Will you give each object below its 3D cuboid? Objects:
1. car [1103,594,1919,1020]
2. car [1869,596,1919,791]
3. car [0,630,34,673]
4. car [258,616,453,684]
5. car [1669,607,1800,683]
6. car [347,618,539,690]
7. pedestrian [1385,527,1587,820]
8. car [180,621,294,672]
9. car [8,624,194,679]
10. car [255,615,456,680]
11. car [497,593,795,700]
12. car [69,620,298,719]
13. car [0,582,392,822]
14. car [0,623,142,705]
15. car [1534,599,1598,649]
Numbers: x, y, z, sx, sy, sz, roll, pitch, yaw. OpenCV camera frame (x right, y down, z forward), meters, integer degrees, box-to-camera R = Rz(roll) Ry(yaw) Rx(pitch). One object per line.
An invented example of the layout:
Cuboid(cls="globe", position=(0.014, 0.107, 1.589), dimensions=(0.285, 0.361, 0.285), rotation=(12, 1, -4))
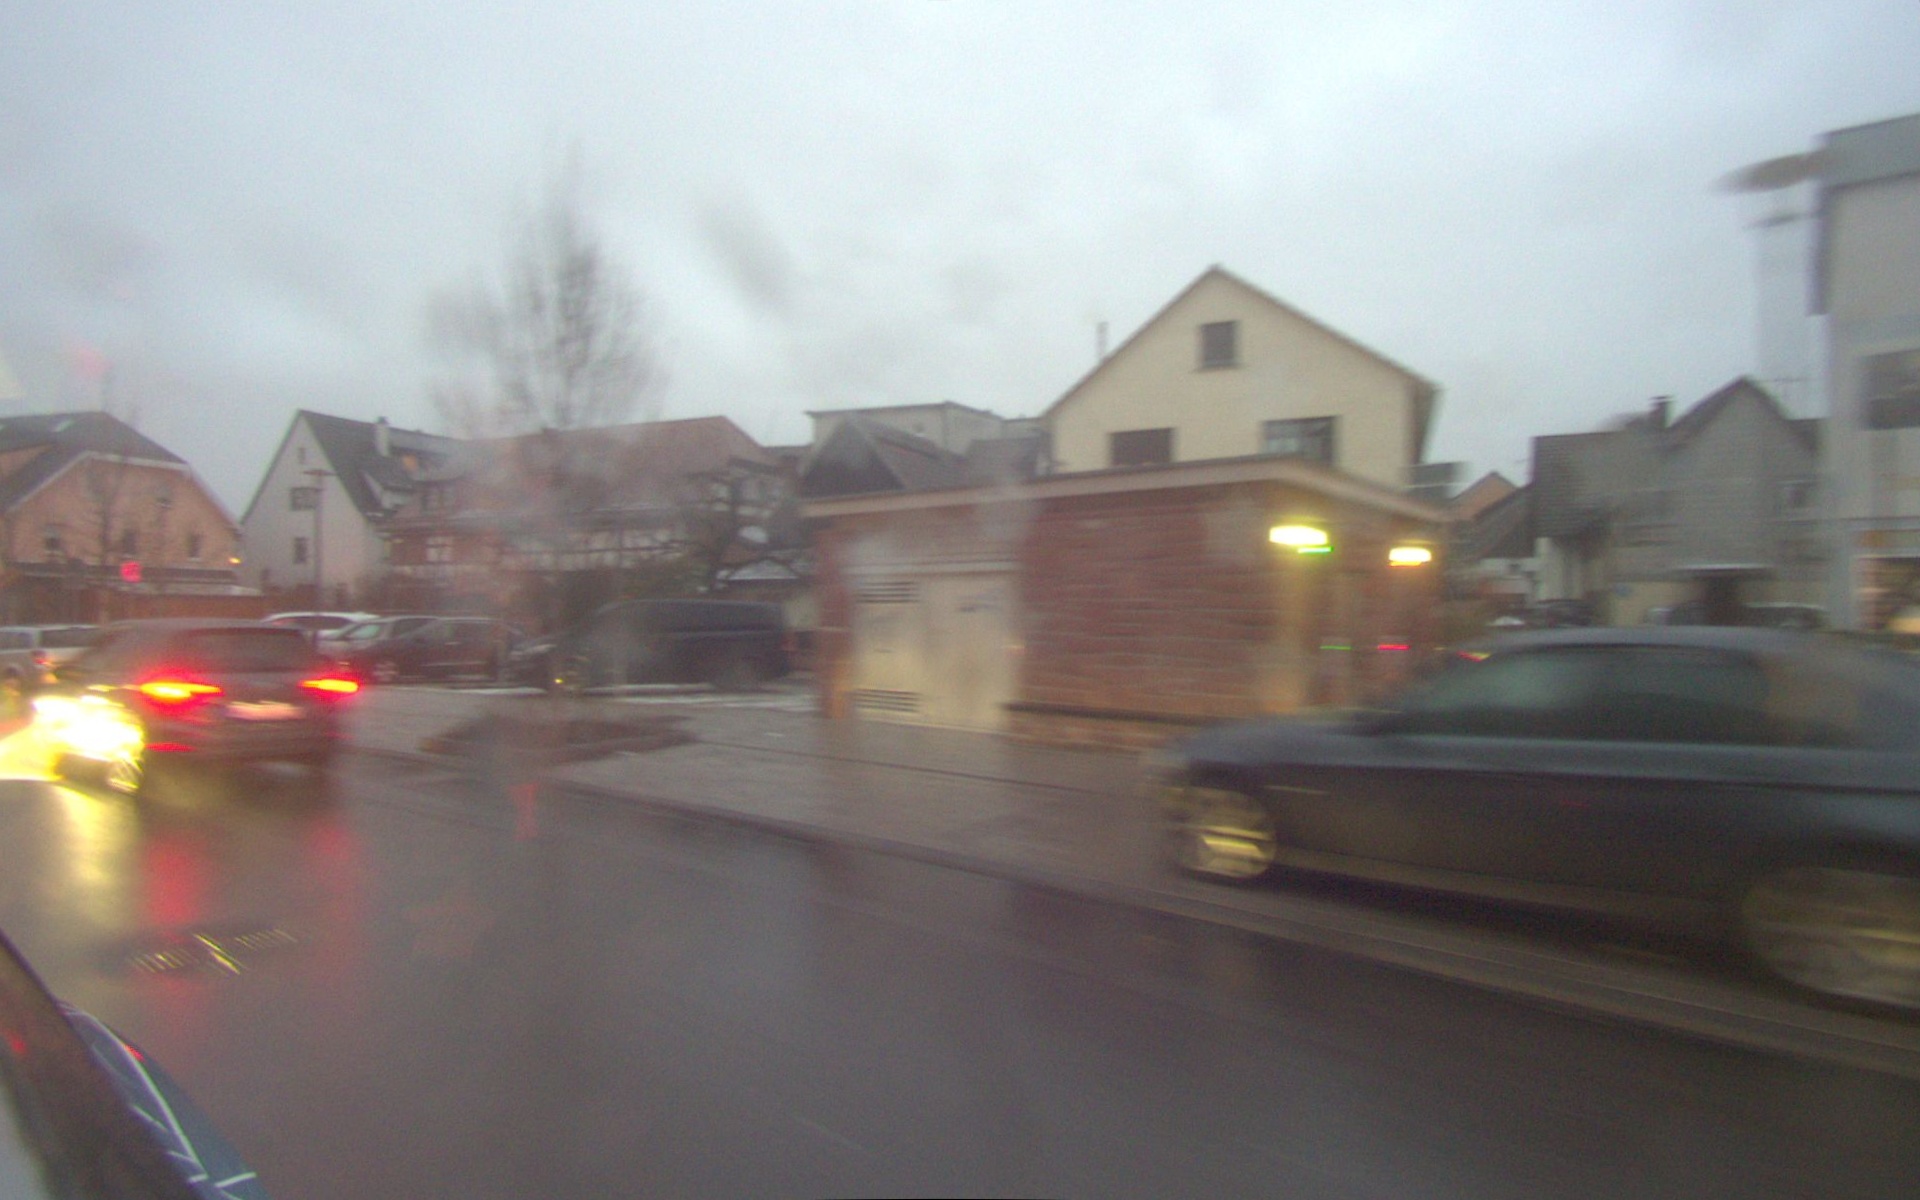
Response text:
Cuboid(cls="car", position=(3.050, 0.743, 5.043), dimensions=(4.460, 1.483, 1.727), rotation=(-2, -1, 44))
Cuboid(cls="car", position=(9.412, 0.733, 7.929), dimensions=(4.018, 1.488, 1.745), rotation=(1, -3, -21))
Cuboid(cls="car", position=(-38.243, 1.951, 38.000), dimensions=(1.988, 1.648, 4.730), rotation=(-2, -4, 24))
Cuboid(cls="car", position=(-15.139, 1.241, 25.419), dimensions=(4.045, 1.594, 1.725), rotation=(2, -3, -36))
Cuboid(cls="car", position=(16.828, 0.914, 21.918), dimensions=(1.876, 1.478, 3.944), rotation=(-2, -2, 43))
Cuboid(cls="car", position=(-12.307, 1.220, 24.122), dimensions=(3.932, 1.541, 2.006), rotation=(0, -1, -32))
Cuboid(cls="pedestrian", position=(3.710, 0.484, 7.163), dimensions=(0.745, 1.881, 1.061), rotation=(1, -2, -44))
Cuboid(cls="car", position=(-26.500, 1.659, 37.095), dimensions=(3.977, 1.741, 1.706), rotation=(-1, 0, 25))
Cuboid(cls="car", position=(-24.831, 1.435, 29.390), dimensions=(4.010, 1.470, 1.760), rotation=(1, -2, -41))
Cuboid(cls="car", position=(-16.632, 1.263, 27.926), dimensions=(4.579, 1.666, 1.992), rotation=(1, -2, -36))
Cuboid(cls="car", position=(-6.160, 0.921, 20.061), dimensions=(5.304, 1.900, 2.080), rotation=(2, -3, -29))
Cuboid(cls="car", position=(-13.602, 1.144, 17.722), dimensions=(3.657, 1.547, 1.822), rotation=(-1, -1, 27))
Cuboid(cls="car", position=(-7.873, 0.858, 10.201), dimensions=(4.736, 1.875, 2.120), rotation=(-2, -2, 38))
Cuboid(cls="car", position=(-19.264, 1.277, 20.799), dimensions=(4.222, 1.545, 1.899), rotation=(-1, -1, 19))
Cuboid(cls="car", position=(23.018, 0.919, 38.574), dimensions=(1.746, 1.813, 3.964), rotation=(-1, -2, 27))
